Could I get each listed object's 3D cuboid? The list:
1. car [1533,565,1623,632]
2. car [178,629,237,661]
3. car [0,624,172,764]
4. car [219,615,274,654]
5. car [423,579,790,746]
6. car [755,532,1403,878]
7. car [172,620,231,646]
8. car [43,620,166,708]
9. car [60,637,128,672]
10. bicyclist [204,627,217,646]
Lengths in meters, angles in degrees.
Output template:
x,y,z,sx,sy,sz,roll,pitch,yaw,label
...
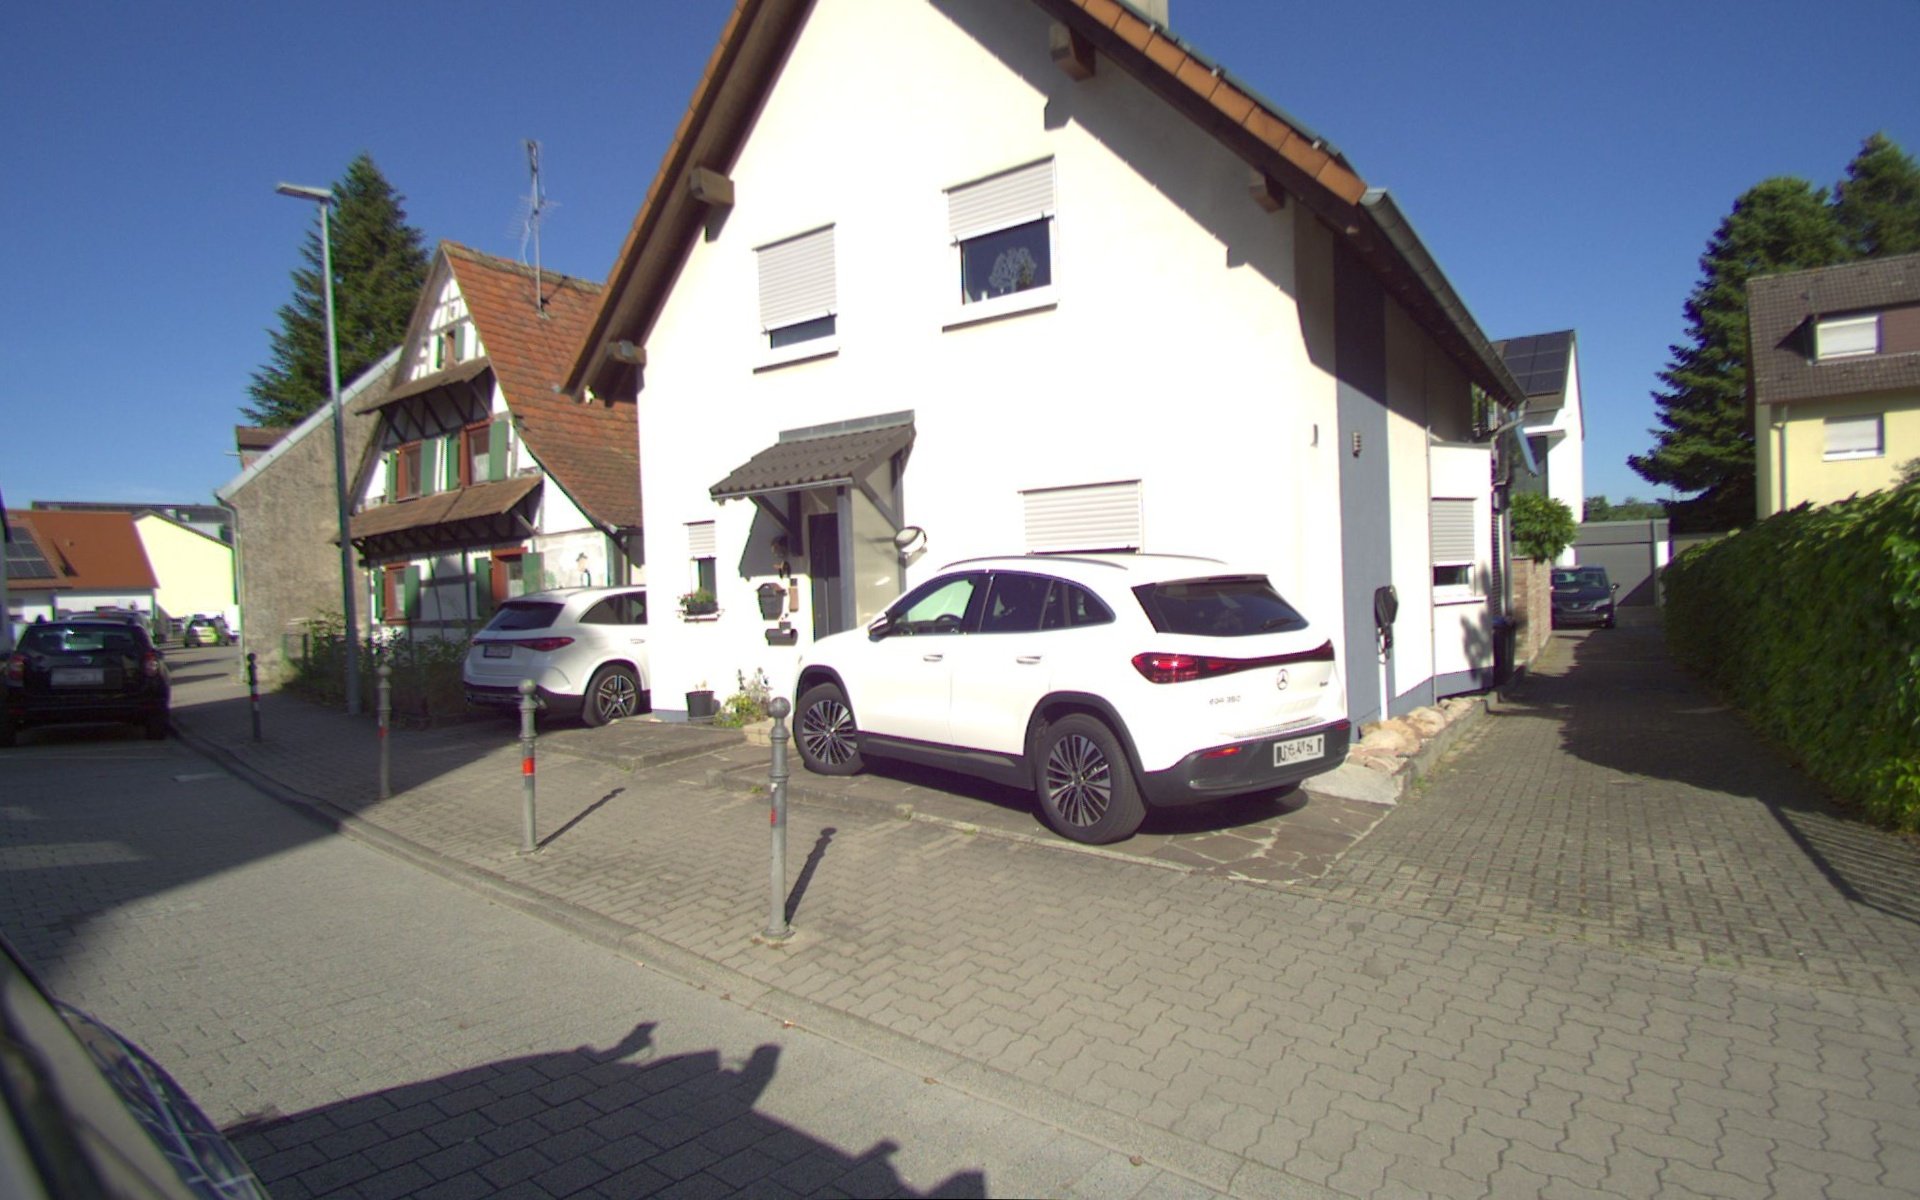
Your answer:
x,y,z,sx,sy,sz,roll,pitch,yaw,label
17.381,-0.077,28.372,1.798,1.636,3.952,-4,0,36,car
-41.281,2.445,55.600,1.862,1.602,4.013,-1,-1,-26,car
-12.447,1.203,14.232,1.810,1.684,4.357,1,-3,-42,car
-43.587,2.080,61.922,2.026,2.263,4.875,-1,-1,-26,car
-4.287,0.671,12.863,1.994,1.601,3.956,-3,1,33,car
0.460,0.499,7.065,1.794,1.607,4.454,-4,1,-39,car
-66.177,2.847,88.351,3.933,2.029,1.847,-2,-1,-32,car
-19.373,1.408,23.085,1.808,1.803,4.362,1,-3,-36,car
-41.284,2.563,48.333,1.778,1.489,4.356,1,-1,-32,car
-54.060,2.617,72.986,0.573,1.330,0.610,-1,-1,-17,bicyclist
